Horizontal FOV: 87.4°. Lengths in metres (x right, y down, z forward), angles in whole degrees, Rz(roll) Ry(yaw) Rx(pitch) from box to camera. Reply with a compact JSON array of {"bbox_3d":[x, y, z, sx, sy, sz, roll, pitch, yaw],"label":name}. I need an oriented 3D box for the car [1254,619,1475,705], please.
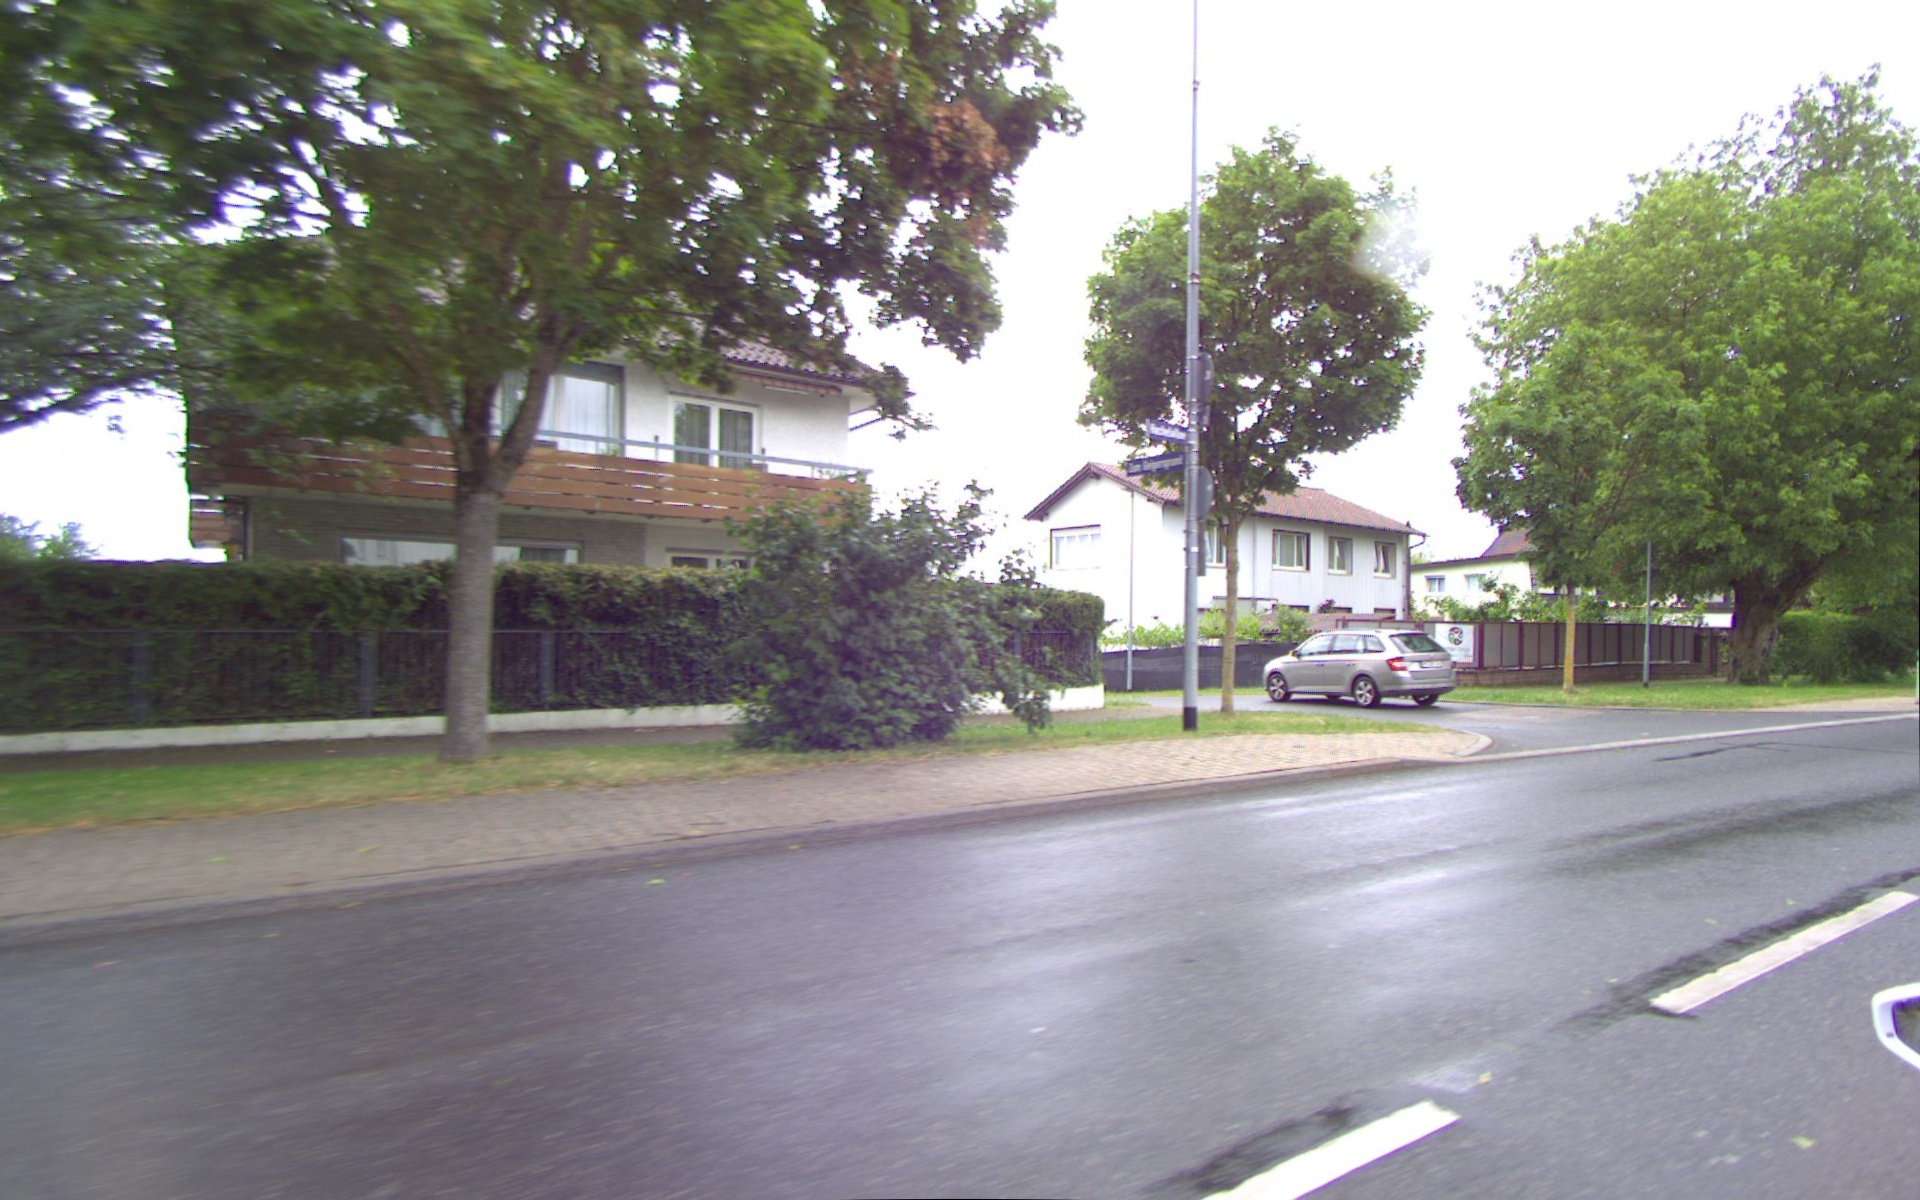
[{"bbox_3d":[7.846,1.187,19.902,1.820,1.506,3.979,1,-3,-22],"label":"car"}]
